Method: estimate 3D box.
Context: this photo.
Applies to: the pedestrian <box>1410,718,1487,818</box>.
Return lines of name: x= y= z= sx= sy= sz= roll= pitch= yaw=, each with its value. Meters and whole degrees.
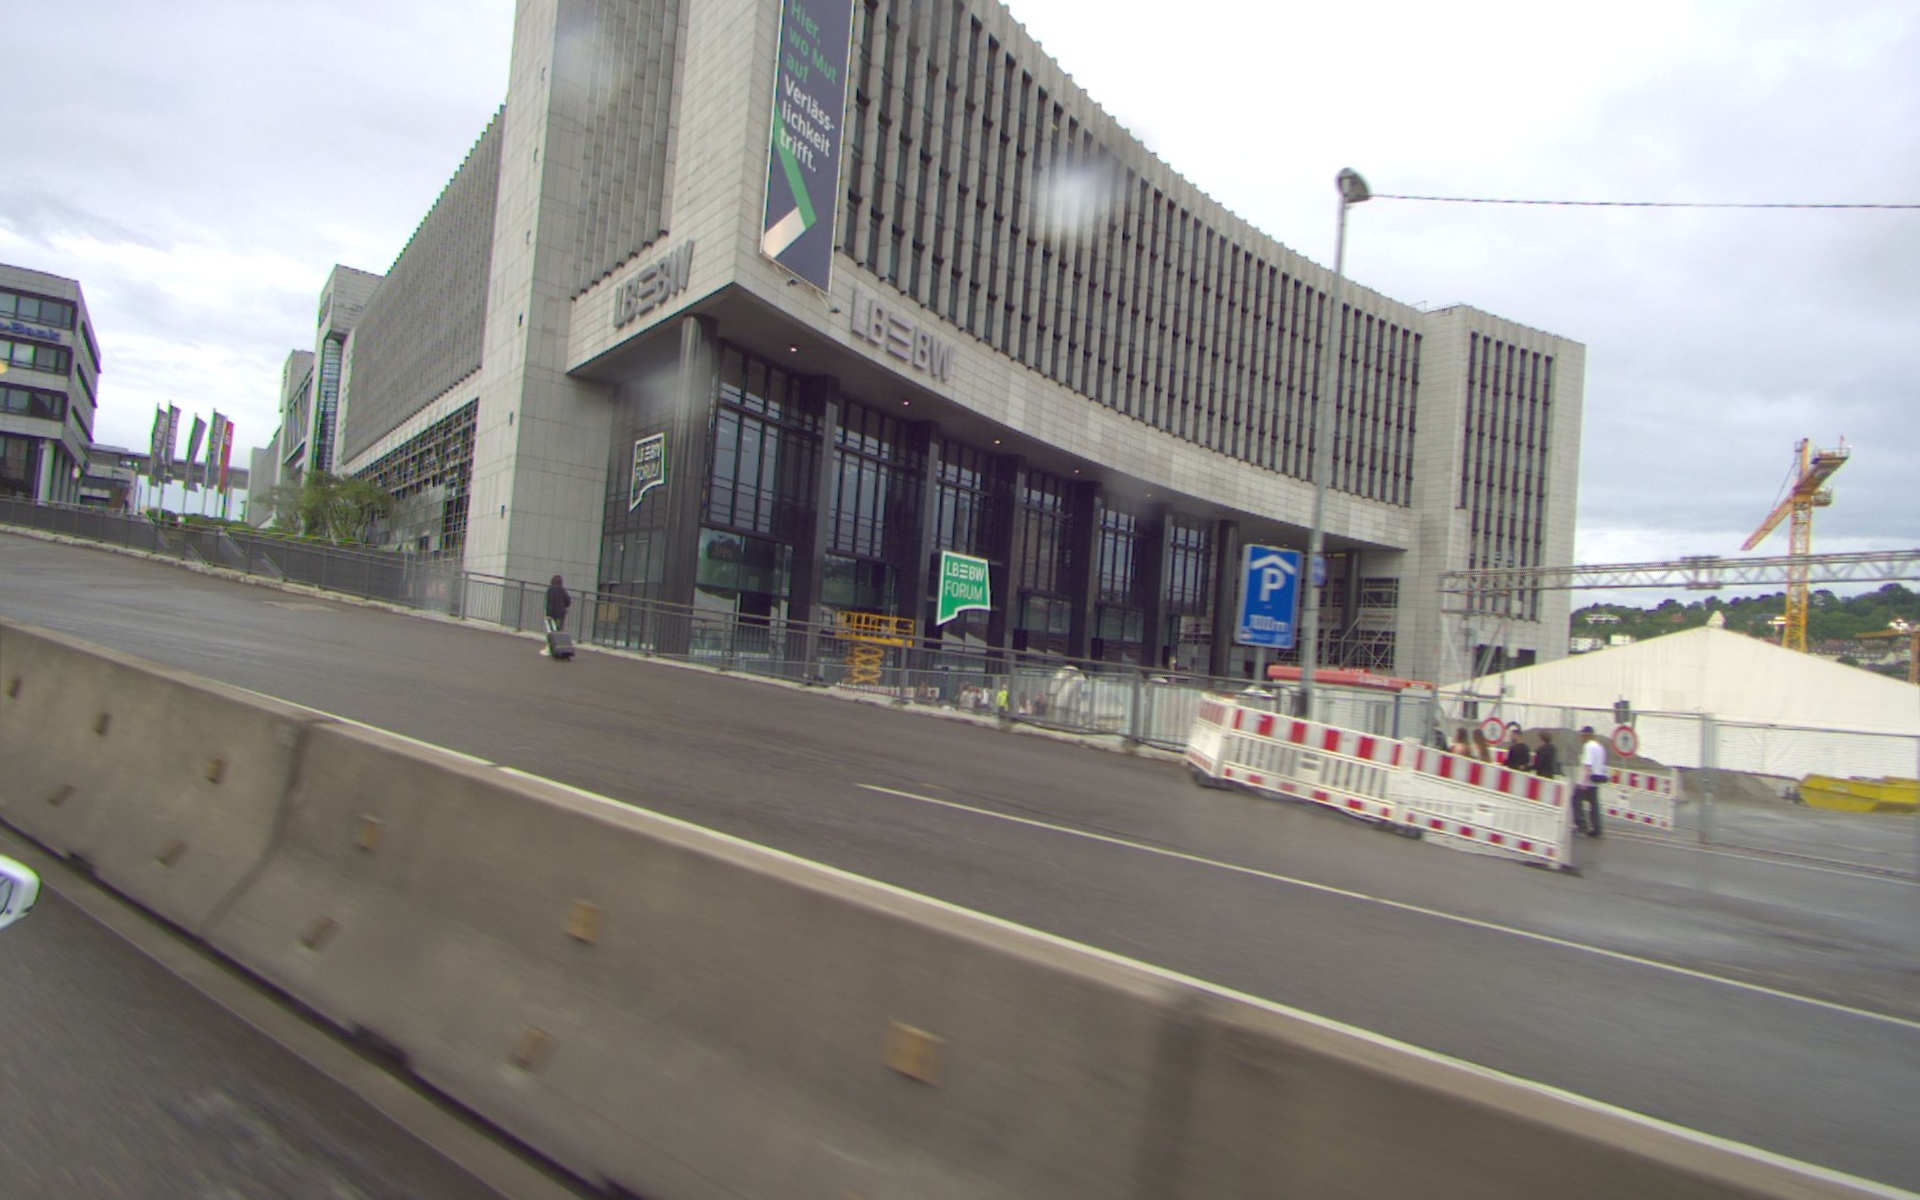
pedestrian: x=8.854 y=3.027 z=18.251 sx=0.692 sy=1.656 sz=0.910 roll=6 pitch=-2 yaw=-29

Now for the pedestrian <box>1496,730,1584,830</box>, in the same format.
pedestrian: x=10.612 y=3.280 z=18.413 sx=0.859 sy=1.656 sz=1.001 roll=6 pitch=-2 yaw=-30

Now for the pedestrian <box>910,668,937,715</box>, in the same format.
pedestrian: x=-1.333 y=3.342 z=36.676 sx=0.697 sy=1.635 sz=0.563 roll=6 pitch=-1 yaw=-26

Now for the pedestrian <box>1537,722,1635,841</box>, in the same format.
pedestrian: x=10.465 y=3.013 z=16.838 sx=0.859 sy=1.802 sz=1.001 roll=6 pitch=-2 yaw=-30

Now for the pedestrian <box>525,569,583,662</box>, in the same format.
pedestrian: x=-7.734 y=0.278 z=19.156 sx=0.724 sy=1.672 sz=1.053 roll=6 pitch=-1 yaw=-31

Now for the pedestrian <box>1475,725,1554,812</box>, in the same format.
pedestrian: x=11.190 y=3.392 z=20.325 sx=0.859 sy=1.571 sz=1.001 roll=6 pitch=-2 yaw=-30

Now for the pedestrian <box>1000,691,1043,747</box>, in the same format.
pedestrian: x=1.966 y=3.799 z=32.292 sx=0.859 sy=1.656 sz=1.001 roll=6 pitch=-2 yaw=-30

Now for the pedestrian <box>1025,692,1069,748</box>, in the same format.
pedestrian: x=2.823 y=3.895 z=32.704 sx=0.859 sy=1.656 sz=1.001 roll=6 pitch=-2 yaw=-30

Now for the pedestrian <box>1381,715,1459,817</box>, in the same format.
pedestrian: x=8.191 y=2.944 z=17.942 sx=0.718 sy=1.656 sz=0.910 roll=6 pitch=-2 yaw=-29

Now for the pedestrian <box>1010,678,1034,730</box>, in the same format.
pedestrian: x=2.322 y=3.890 z=37.697 sx=0.742 sy=1.837 sz=0.642 roll=5 pitch=-1 yaw=1

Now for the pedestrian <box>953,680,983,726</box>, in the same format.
pedestrian: x=0.311 y=4.064 z=39.688 sx=0.855 sy=1.656 sz=1.006 roll=5 pitch=-1 yaw=-14

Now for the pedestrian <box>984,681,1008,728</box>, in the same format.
pedestrian: x=1.313 y=3.839 z=37.061 sx=0.727 sy=1.656 sz=0.654 roll=5 pitch=-1 yaw=1

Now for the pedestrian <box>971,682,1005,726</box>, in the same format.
pedestrian: x=1.127 y=4.177 z=40.503 sx=0.858 sy=1.656 sz=1.003 roll=6 pitch=-2 yaw=-25

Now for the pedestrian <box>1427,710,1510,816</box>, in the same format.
pedestrian: x=9.458 y=3.021 z=18.728 sx=0.765 sy=1.804 sz=1.001 roll=6 pitch=-2 yaw=-30

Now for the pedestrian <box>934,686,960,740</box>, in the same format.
pedestrian: x=-0.431 y=3.749 z=33.445 sx=0.594 sy=1.656 sz=0.770 roll=5 pitch=-1 yaw=-10

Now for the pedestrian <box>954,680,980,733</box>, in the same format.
pedestrian: x=0.232 y=3.548 z=33.546 sx=0.577 sy=1.656 sz=0.751 roll=5 pitch=-1 yaw=-10

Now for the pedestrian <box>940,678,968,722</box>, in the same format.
pedestrian: x=-0.261 y=4.068 z=40.993 sx=0.854 sy=1.656 sz=1.007 roll=5 pitch=-1 yaw=-9

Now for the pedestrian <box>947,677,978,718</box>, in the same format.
pedestrian: x=0.101 y=4.225 z=43.762 sx=0.854 sy=1.656 sz=1.007 roll=4 pitch=-2 yaw=28
